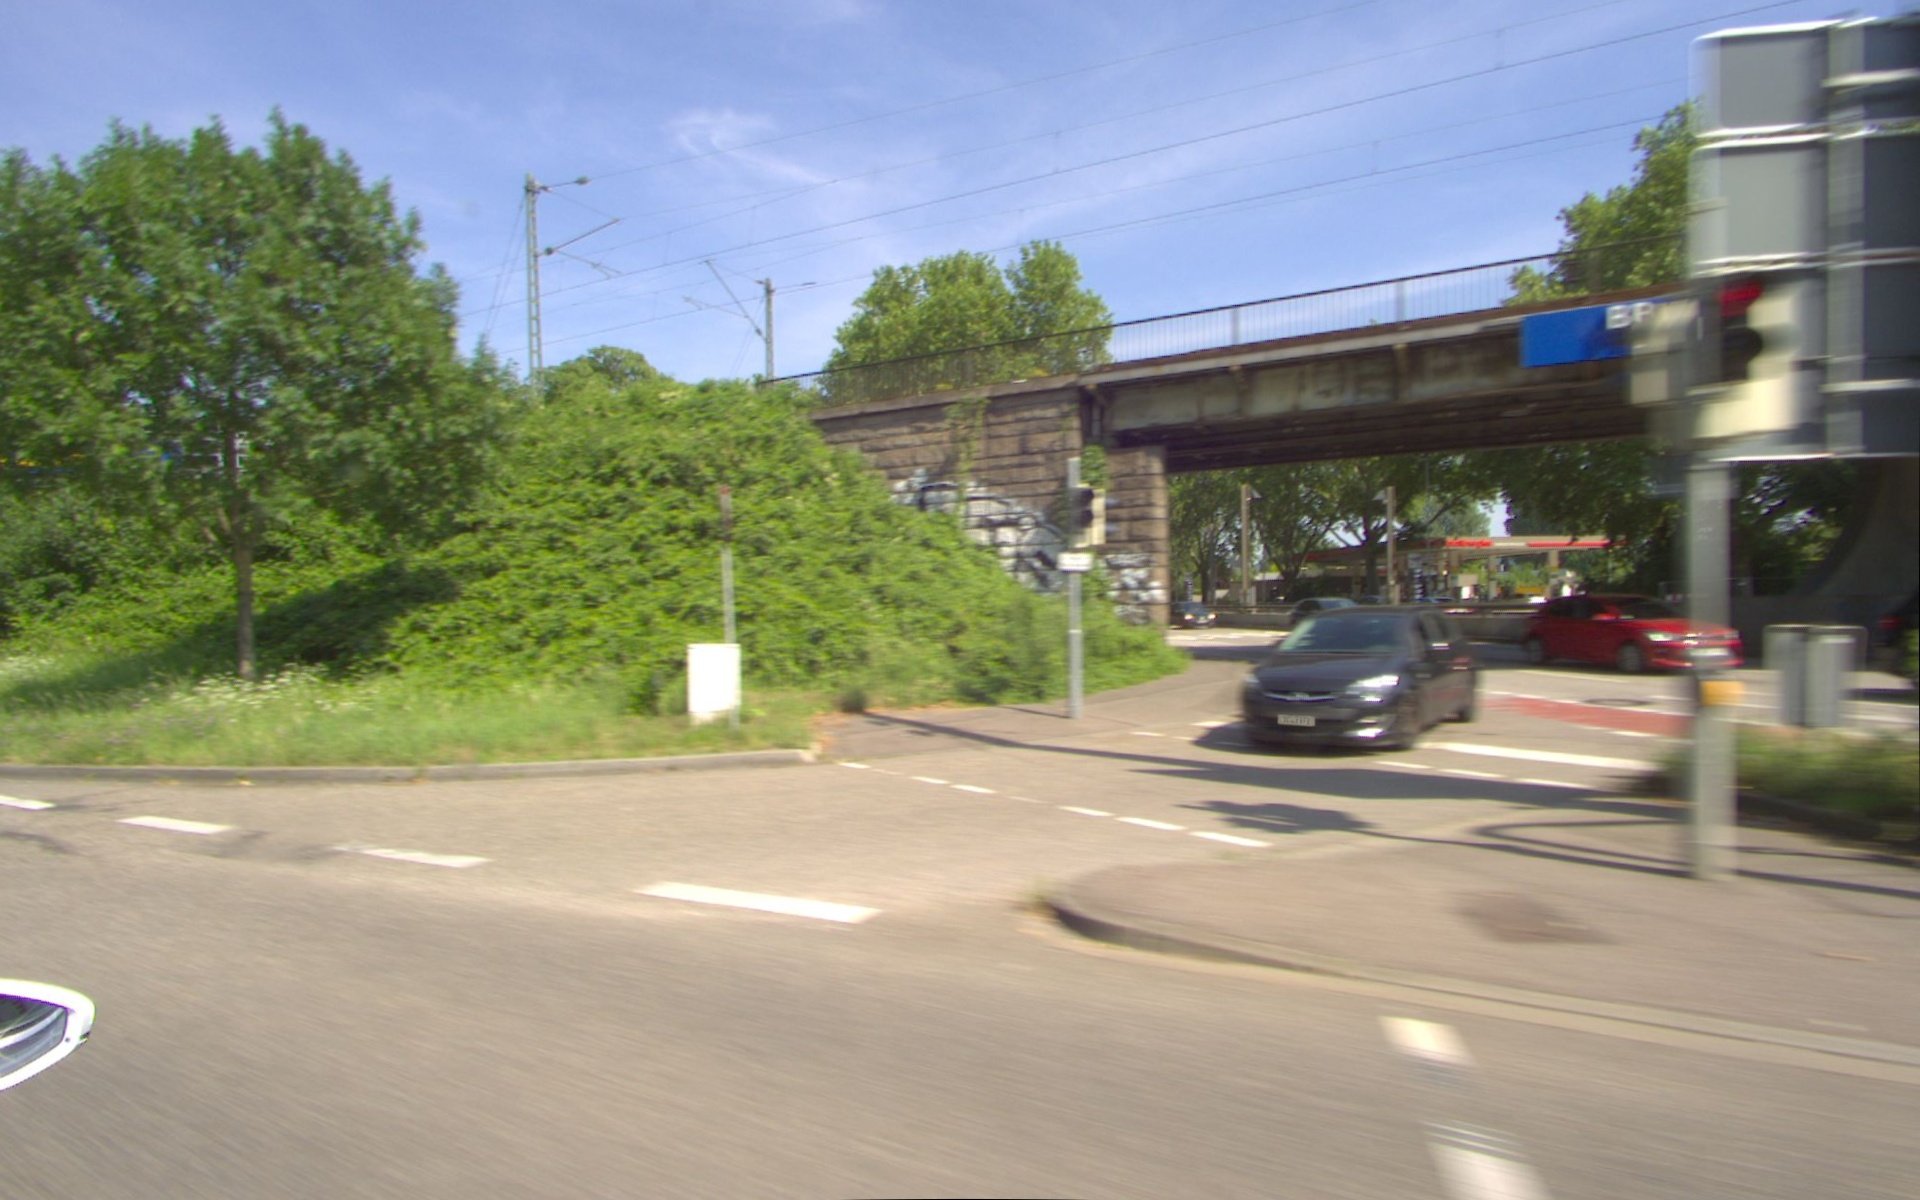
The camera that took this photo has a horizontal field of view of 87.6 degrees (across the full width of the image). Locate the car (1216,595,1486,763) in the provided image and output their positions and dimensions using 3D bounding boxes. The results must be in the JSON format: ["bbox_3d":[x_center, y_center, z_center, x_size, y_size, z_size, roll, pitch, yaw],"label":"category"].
[{"bbox_3d":[4.668,0.746,11.565,1.805,1.526,4.185,-1,0,38],"label":"car"}]

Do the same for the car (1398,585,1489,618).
[{"bbox_3d":[23.918,0.064,49.728,1.962,1.528,4.481,1,0,-6],"label":"car"}]

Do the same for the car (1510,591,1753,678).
[{"bbox_3d":[12.681,0.606,19.260,1.675,1.439,3.999,-2,0,-6],"label":"car"}]

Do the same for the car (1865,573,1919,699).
[{"bbox_3d":[13.491,0.435,11.442,1.962,1.617,4.443,-1,0,-9],"label":"car"}]

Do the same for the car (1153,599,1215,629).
[{"bbox_3d":[11.559,0.702,51.915,1.850,1.461,4.140,-1,0,-8],"label":"car"}]

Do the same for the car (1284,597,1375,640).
[{"bbox_3d":[13.286,0.635,36.263,1.660,1.461,4.000,0,0,-3],"label":"car"}]
